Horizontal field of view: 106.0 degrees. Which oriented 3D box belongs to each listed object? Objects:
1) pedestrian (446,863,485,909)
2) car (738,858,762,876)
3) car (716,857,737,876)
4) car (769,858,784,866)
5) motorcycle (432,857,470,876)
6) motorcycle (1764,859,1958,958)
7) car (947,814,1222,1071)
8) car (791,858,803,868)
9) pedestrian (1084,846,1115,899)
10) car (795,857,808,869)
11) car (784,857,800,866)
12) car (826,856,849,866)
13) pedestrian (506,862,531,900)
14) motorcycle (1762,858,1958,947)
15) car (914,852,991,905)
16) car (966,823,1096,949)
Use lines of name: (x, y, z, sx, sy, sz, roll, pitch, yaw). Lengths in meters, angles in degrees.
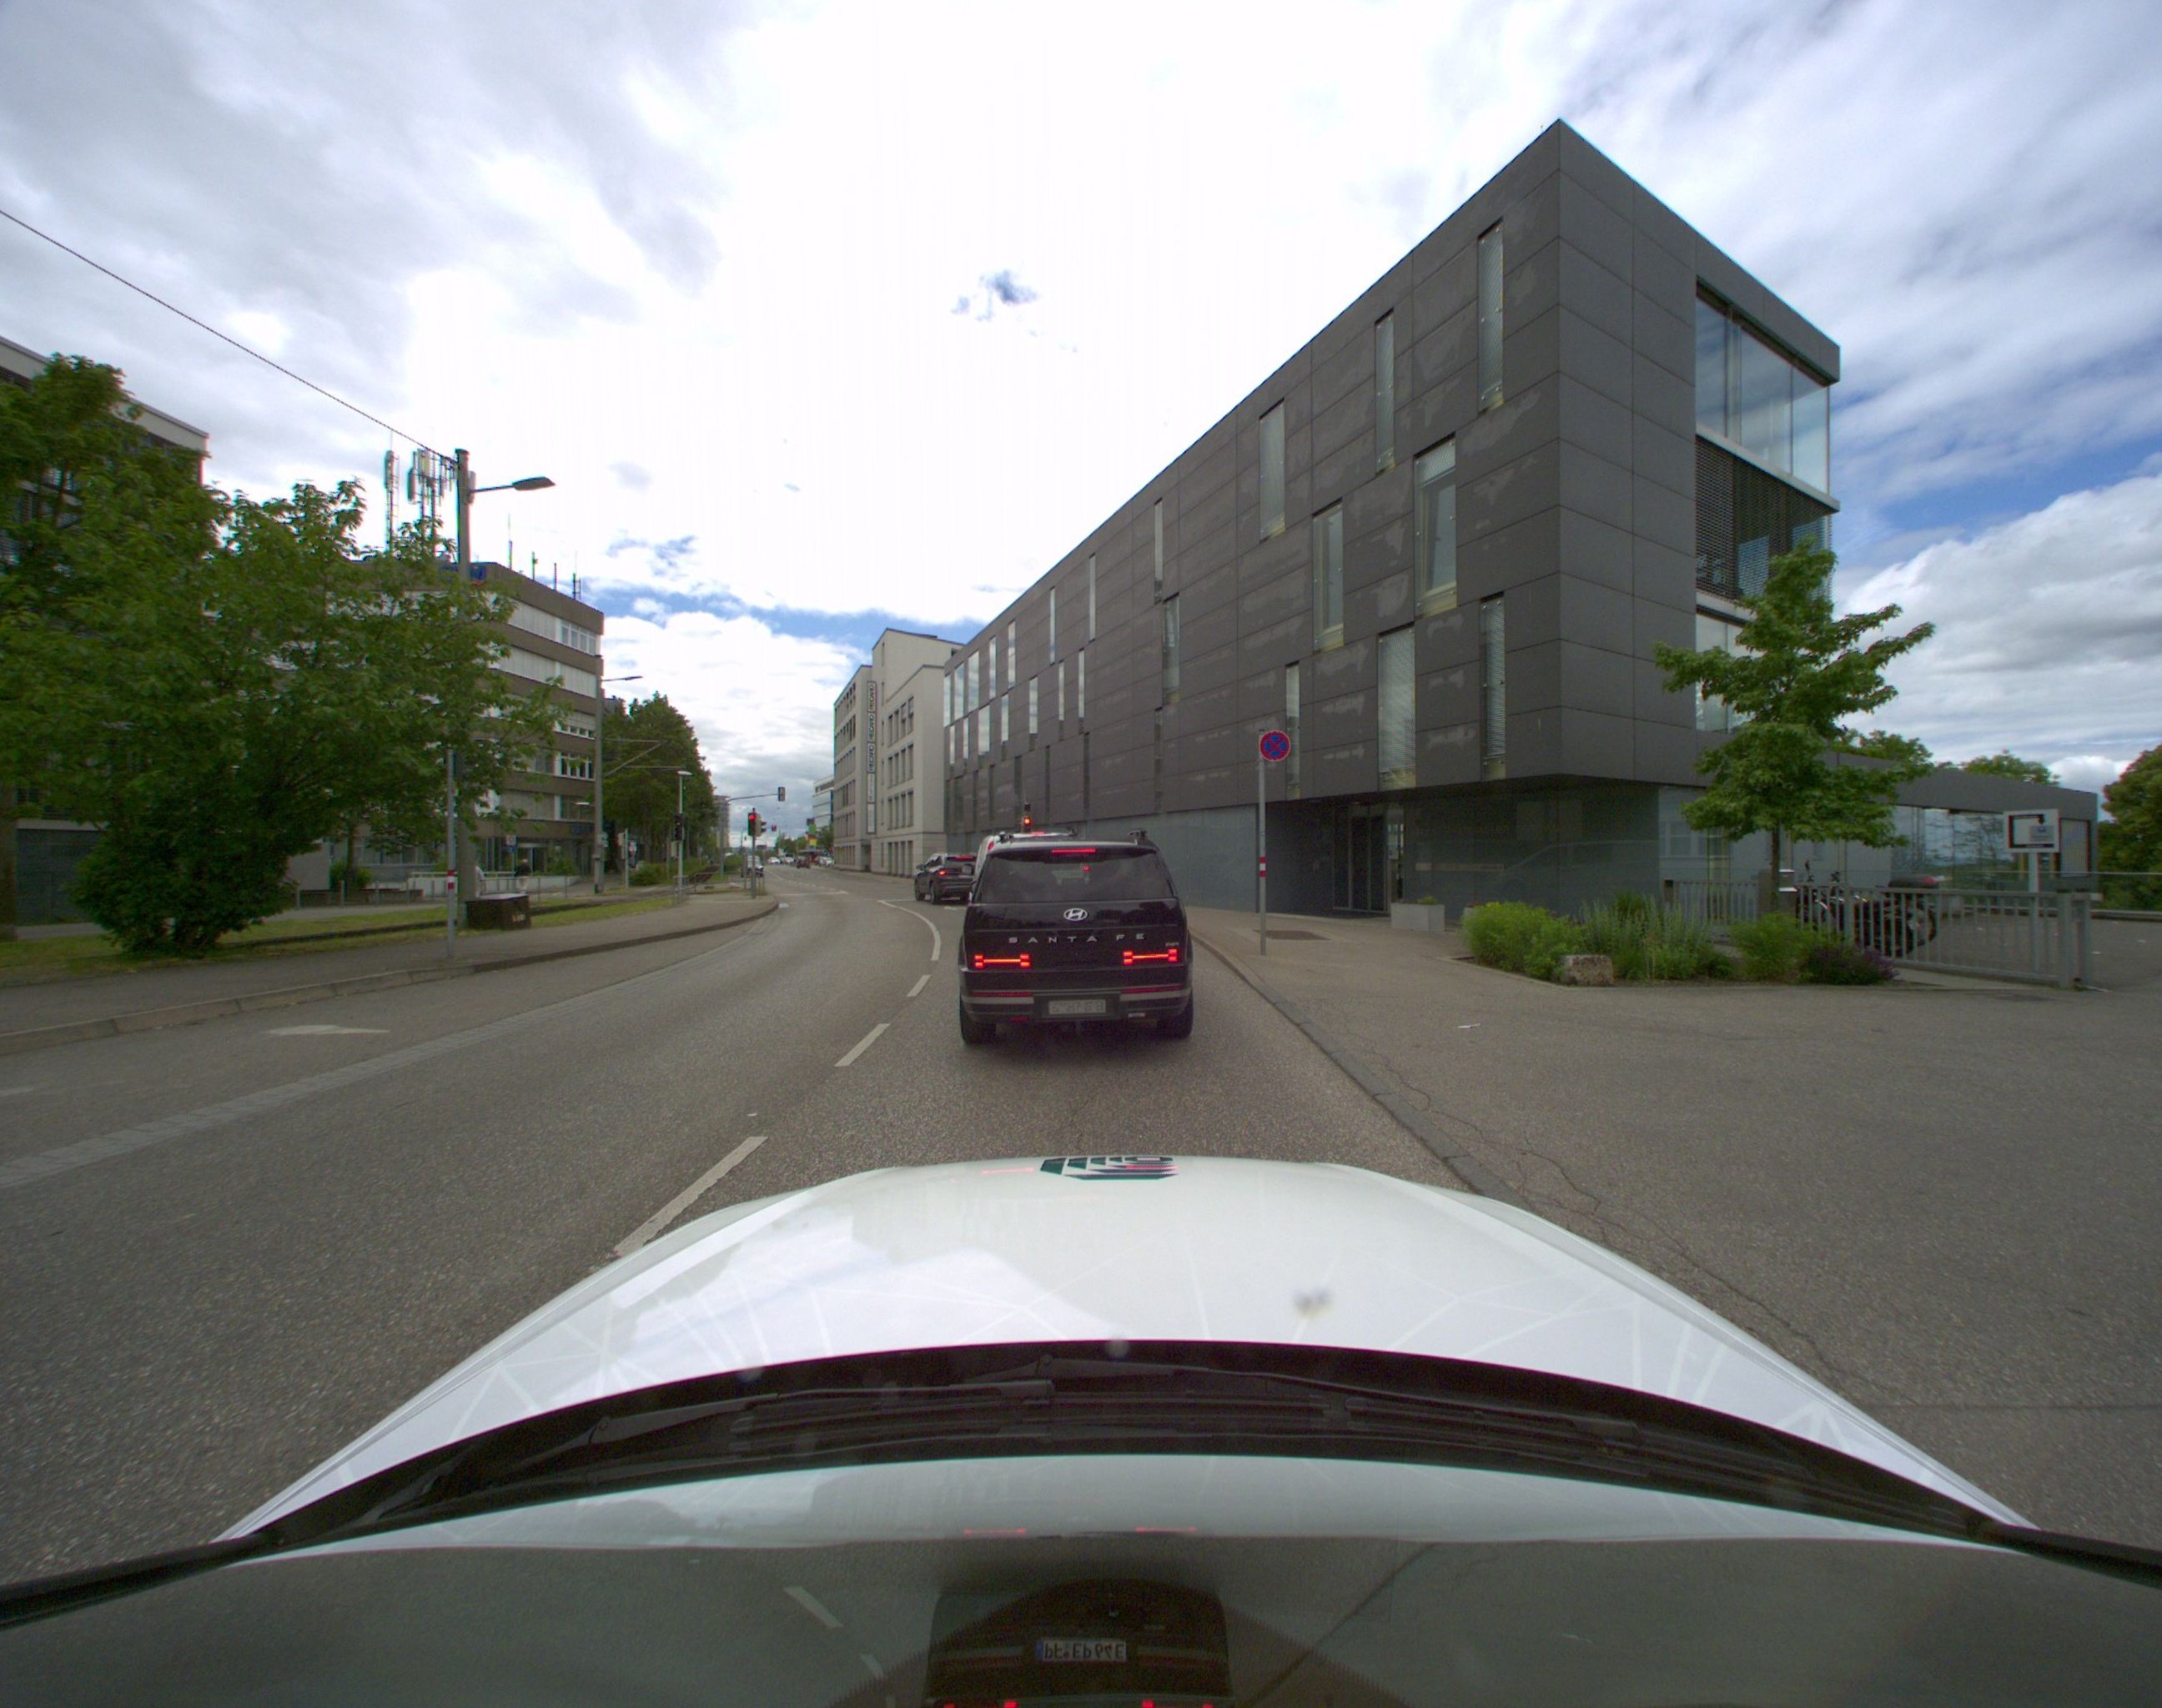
pedestrian: (-21.328, 1.087, 28.248, 0.852, 1.526, 0.987, -2, 0, -25)
car: (-28.694, 1.113, 70.702, 1.774, 1.479, 3.972, -2, 0, -21)
car: (-35.467, 1.232, 81.529, 1.687, 1.808, 4.322, -2, 0, -20)
car: (-62.491, 1.556, 167.021, 2.009, 1.578, 3.956, 0, 0, -36)
motorcycle: (-41.303, 0.798, 53.403, 1.877, 1.199, 0.566, -1, 0, -8)
motorcycle: (11.966, 0.778, 12.609, 0.669, 1.393, 2.112, 0, 0, -17)
car: (-0.120, 0.617, 7.919, 1.905, 1.749, 4.390, -1, 0, -4)
car: (-47.950, 1.486, 137.558, 1.765, 1.609, 4.159, 0, 0, -20)
pedestrian: (0.608, 0.604, 26.745, 0.715, 1.694, 0.858, 1, -1, -25)
car: (-41.515, 1.314, 120.833, 1.765, 1.609, 4.159, 0, 0, -20)
car: (-55.362, 1.500, 155.969, 2.009, 1.703, 3.956, 0, 0, -36)
car: (-40.785, 1.145, 136.284, 3.950, 1.677, 2.012, 0, 0, 44)
pedestrian: (-26.154, 1.237, 37.878, 0.688, 1.705, 0.680, -2, 0, -10)
motorcycle: (13.391, 0.773, 14.140, 0.669, 1.393, 2.449, 0, 0, -17)
car: (-4.350, 0.748, 27.126, 1.765, 1.609, 4.159, 0, 0, -20)
car: (-1.101, 0.505, 15.301, 1.932, 1.994, 4.519, 0, 0, -10)
